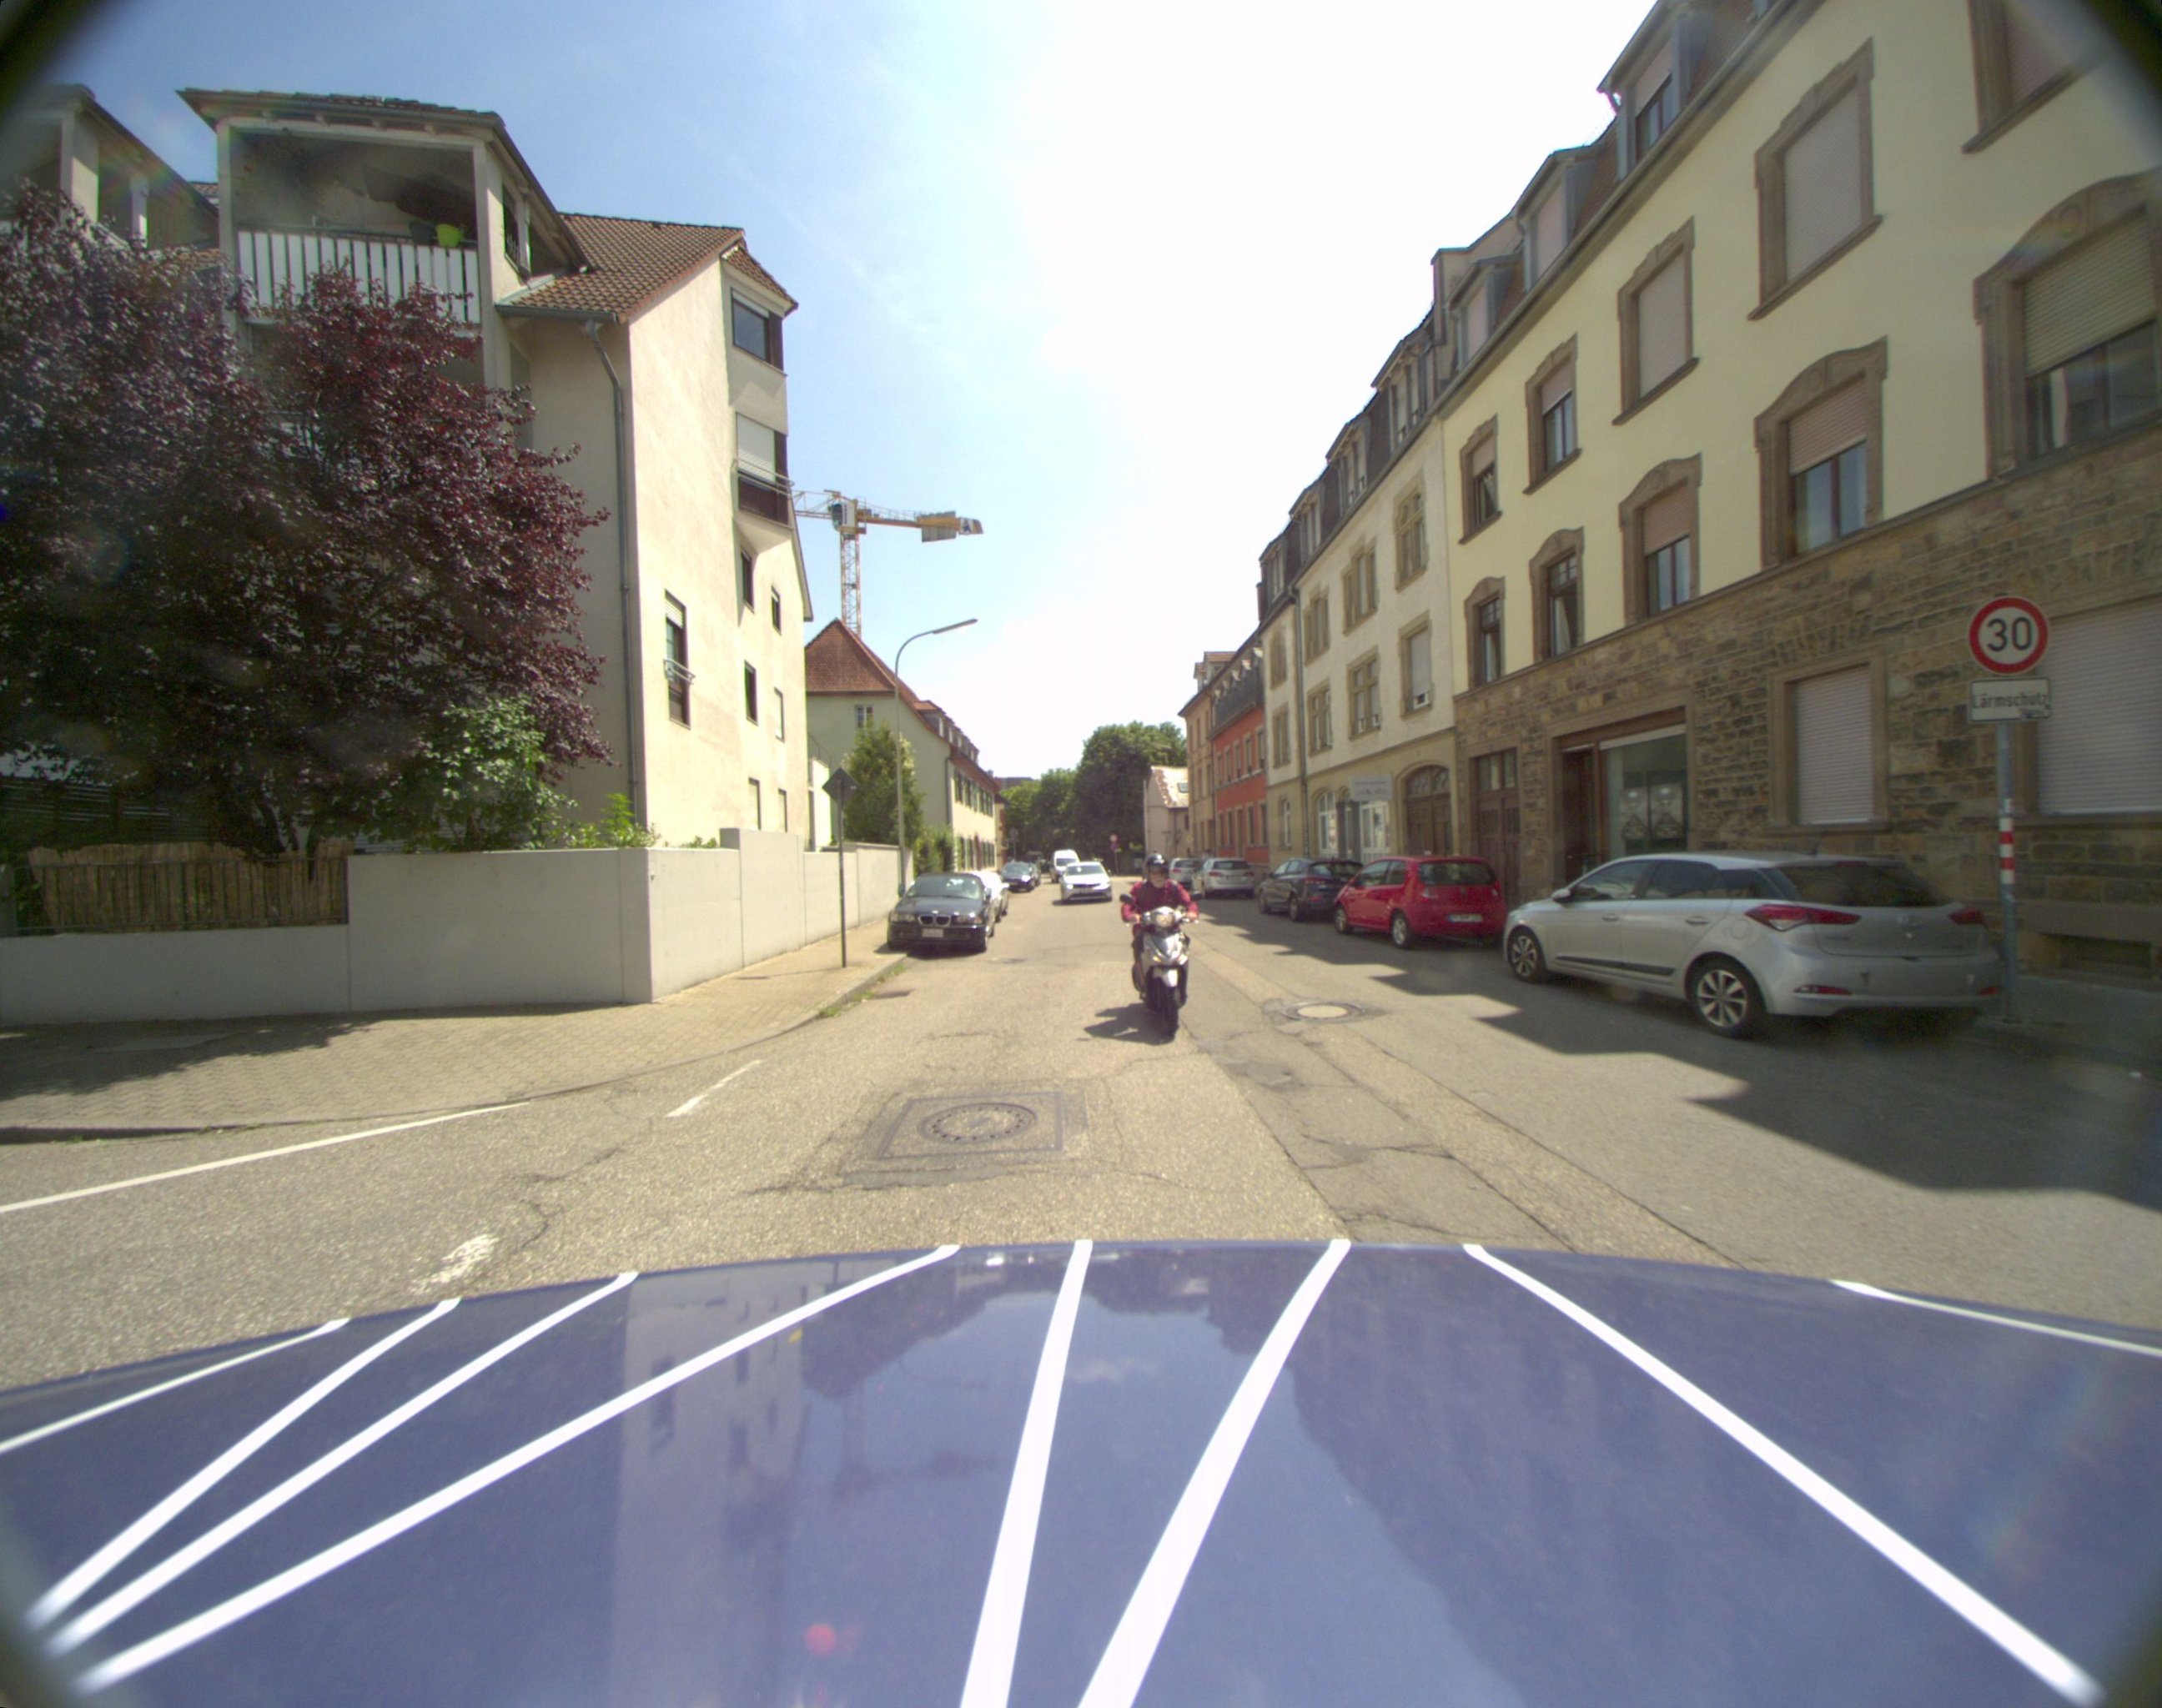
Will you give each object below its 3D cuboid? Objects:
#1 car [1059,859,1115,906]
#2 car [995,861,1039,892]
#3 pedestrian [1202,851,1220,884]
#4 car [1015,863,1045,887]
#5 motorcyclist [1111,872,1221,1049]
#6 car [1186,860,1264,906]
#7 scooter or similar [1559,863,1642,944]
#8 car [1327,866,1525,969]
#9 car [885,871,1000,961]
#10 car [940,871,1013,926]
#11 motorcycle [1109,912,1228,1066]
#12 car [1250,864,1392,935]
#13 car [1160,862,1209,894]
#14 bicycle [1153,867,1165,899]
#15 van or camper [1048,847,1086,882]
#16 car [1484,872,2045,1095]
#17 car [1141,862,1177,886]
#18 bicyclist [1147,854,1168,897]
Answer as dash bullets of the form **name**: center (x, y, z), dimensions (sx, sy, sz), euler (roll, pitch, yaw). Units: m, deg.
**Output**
- **car**: center (0.154, 0.985, 27.993), dimensions (1.812, 1.512, 3.999), euler (-3, 0, -2)
- **car**: center (-3.279, 1.150, 39.845), dimensions (1.851, 1.506, 4.000), euler (-2, 0, 1)
- **pedestrian**: center (7.230, 0.768, 42.311), dimensions (0.770, 1.760, 0.763), euler (-4, 0, -2)
- **car**: center (-3.304, 1.340, 49.640), dimensions (1.651, 1.489, 4.000), euler (-2, 0, -1)
- **motorcyclist**: center (0.738, 0.912, 6.934), dimensions (0.793, 1.431, 1.020), euler (-3, 0, -2)
- **car**: center (5.226, 1.021, 28.155), dimensions (1.883, 1.501, 4.381), euler (-2, 0, -2)
- **scooter or similar**: center (8.321, 0.756, 12.212), dimensions (0.375, 1.213, 1.319), euler (-1, 0, -2)
- **car**: center (5.625, 0.959, 12.878), dimensions (1.603, 1.433, 3.494), euler (-1, 0, -3)
- **car**: center (-2.523, 1.083, 14.792), dimensions (1.661, 1.368, 4.238), euler (-2, 0, -3)
- **car**: center (-2.848, 1.175, 21.389), dimensions (1.589, 1.345, 3.822), euler (0, 0, -1)
- **motorcycle**: center (0.737, 1.148, 7.047), dimensions (0.760, 1.049, 1.991), euler (-3, 0, -2)
- **car**: center (5.574, 0.990, 18.251), dimensions (1.877, 1.430, 4.217), euler (-2, 0, -3)
- **car**: center (4.947, 1.140, 36.896), dimensions (1.715, 1.450, 3.853), euler (0, 0, -2)
- **bicycle**: center (3.229, 1.187, 31.605), dimensions (0.229, 1.268, 1.882), euler (1, 0, -3)
- **van or camper**: center (-1.047, 0.727, 53.708), dimensions (2.000, 2.273, 5.140), euler (-2, 0, -9)
- **car**: center (5.725, 0.927, 7.177), dimensions (1.639, 1.423, 4.018), euler (0, 0, -1)
- **car**: center (5.034, 1.249, 49.266), dimensions (1.732, 1.433, 3.856), euler (-2, 0, -2)
- **bicyclist**: center (3.176, 0.883, 31.586), dimensions (0.643, 1.752, 1.167), euler (0, 0, -4)
